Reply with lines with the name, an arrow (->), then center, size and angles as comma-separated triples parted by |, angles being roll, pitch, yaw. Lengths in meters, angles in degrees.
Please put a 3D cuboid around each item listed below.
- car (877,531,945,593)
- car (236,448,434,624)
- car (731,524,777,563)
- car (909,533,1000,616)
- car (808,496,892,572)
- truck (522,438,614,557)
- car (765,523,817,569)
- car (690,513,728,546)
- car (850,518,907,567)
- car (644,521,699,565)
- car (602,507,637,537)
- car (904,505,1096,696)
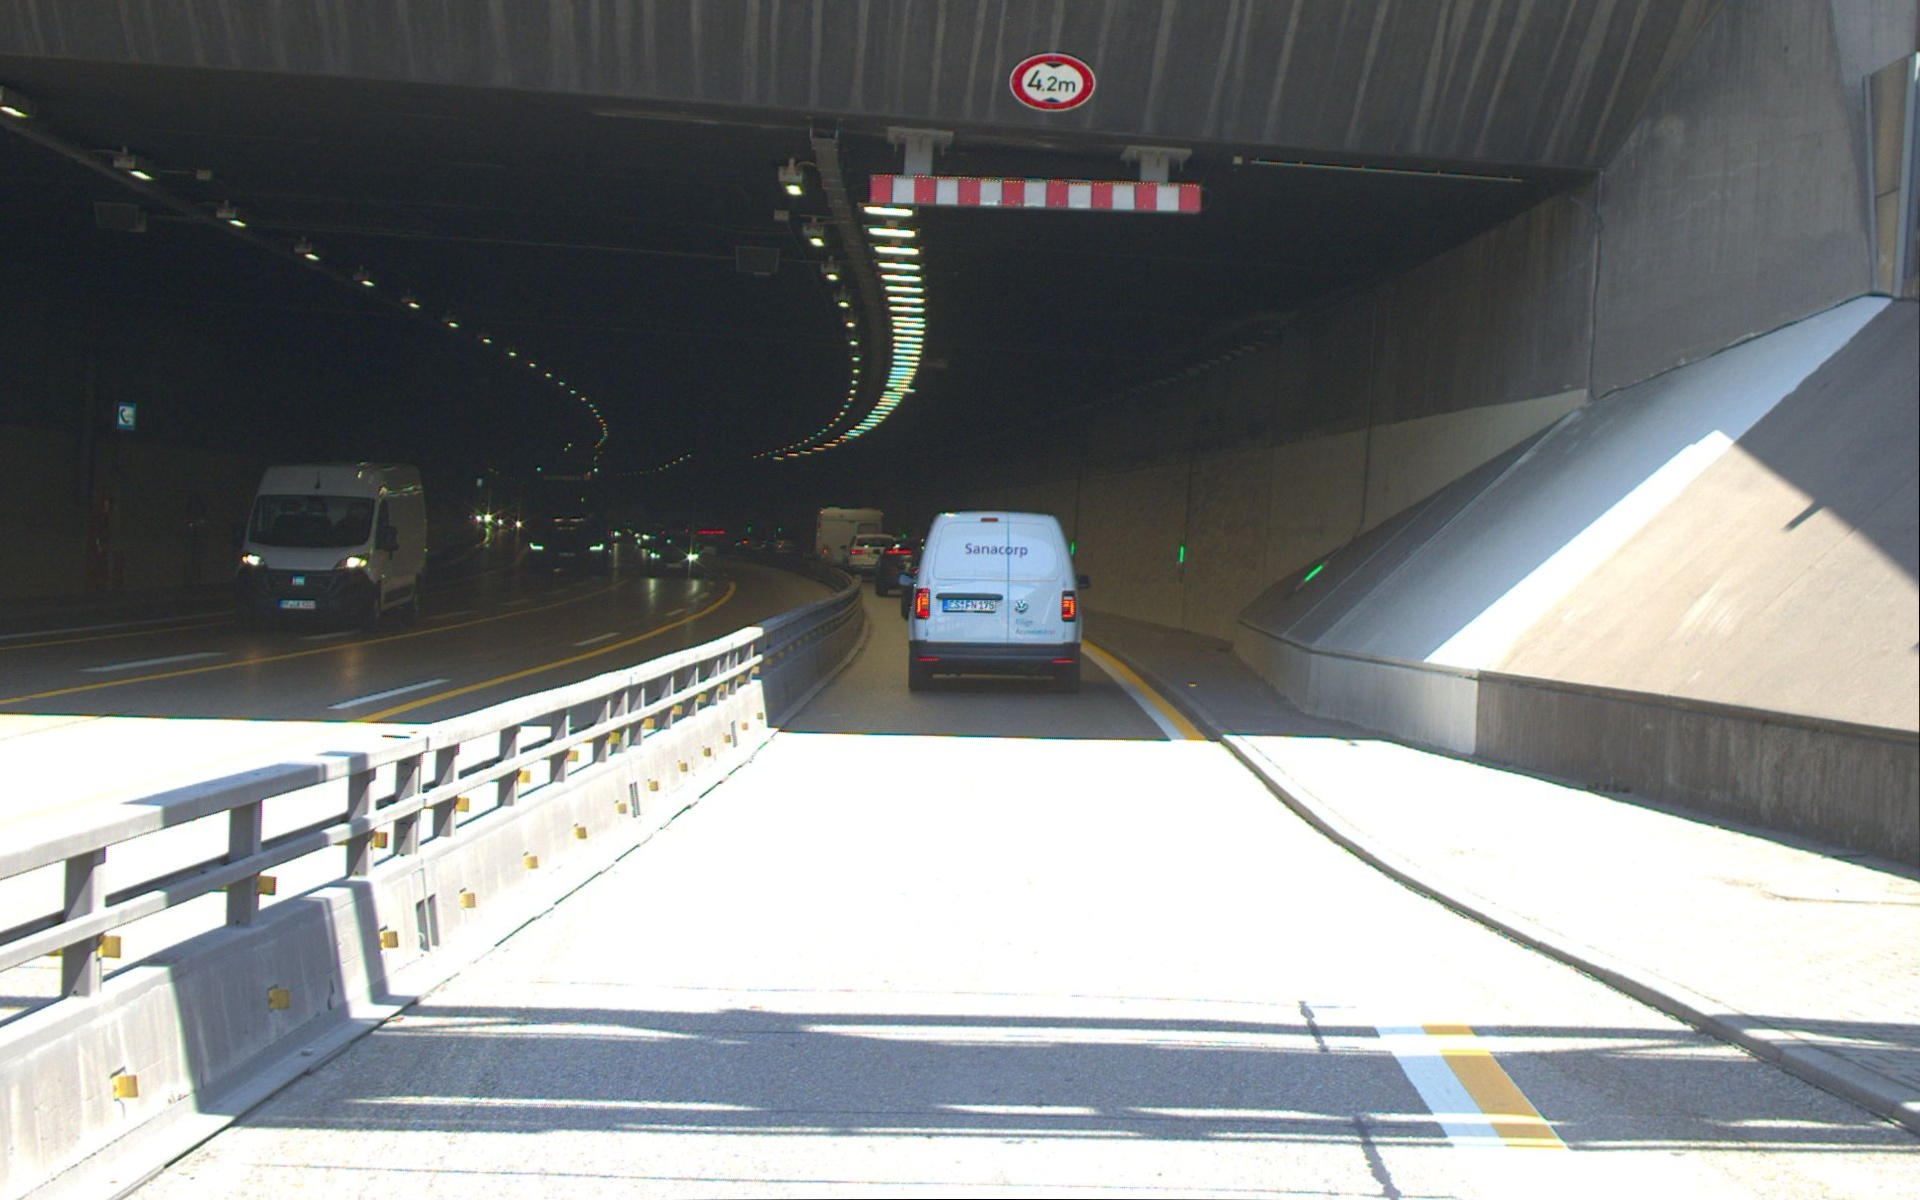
car -> -1.290, -0.993, 89.669 | 1.598, 1.541, 3.678 | 1, 1, -3
car -> -9.410, -0.992, 52.207 | 1.993, 2.506, 6.042 | 1, 1, -1
car -> -11.021, -3.006, 183.289 | 1.939, 2.014, 4.663 | 1, 1, -9
car -> -0.137, -0.514, 66.419 | 1.598, 1.541, 3.678 | 1, 1, -2
car -> -4.270, -2.488, 131.758 | 2.813, 2.764, 7.102 | 2, 0, -5
truck -> -13.279, -3.461, 116.809 | 2.810, 3.902, 6.457 | 1, 1, -4
car -> -8.273, -2.662, 167.994 | 2.034, 2.014, 4.633 | 5, 1, -7
car -> -15.669, -4.401, 214.660 | 1.939, 2.014, 4.663 | 1, 1, -9
car -> -2.703, -1.906, 112.909 | 1.598, 1.541, 3.678 | 1, 1, -5
car -> -9.807, -1.955, 116.721 | 1.821, 1.451, 4.094 | 1, 1, -5
car -> -23.259, -5.337, 234.512 | 1.926, 1.842, 4.363 | -1, 4, -11
car -> 0.388, -0.014, 35.645 | 1.808, 1.788, 3.731 | 3, 1, 0
